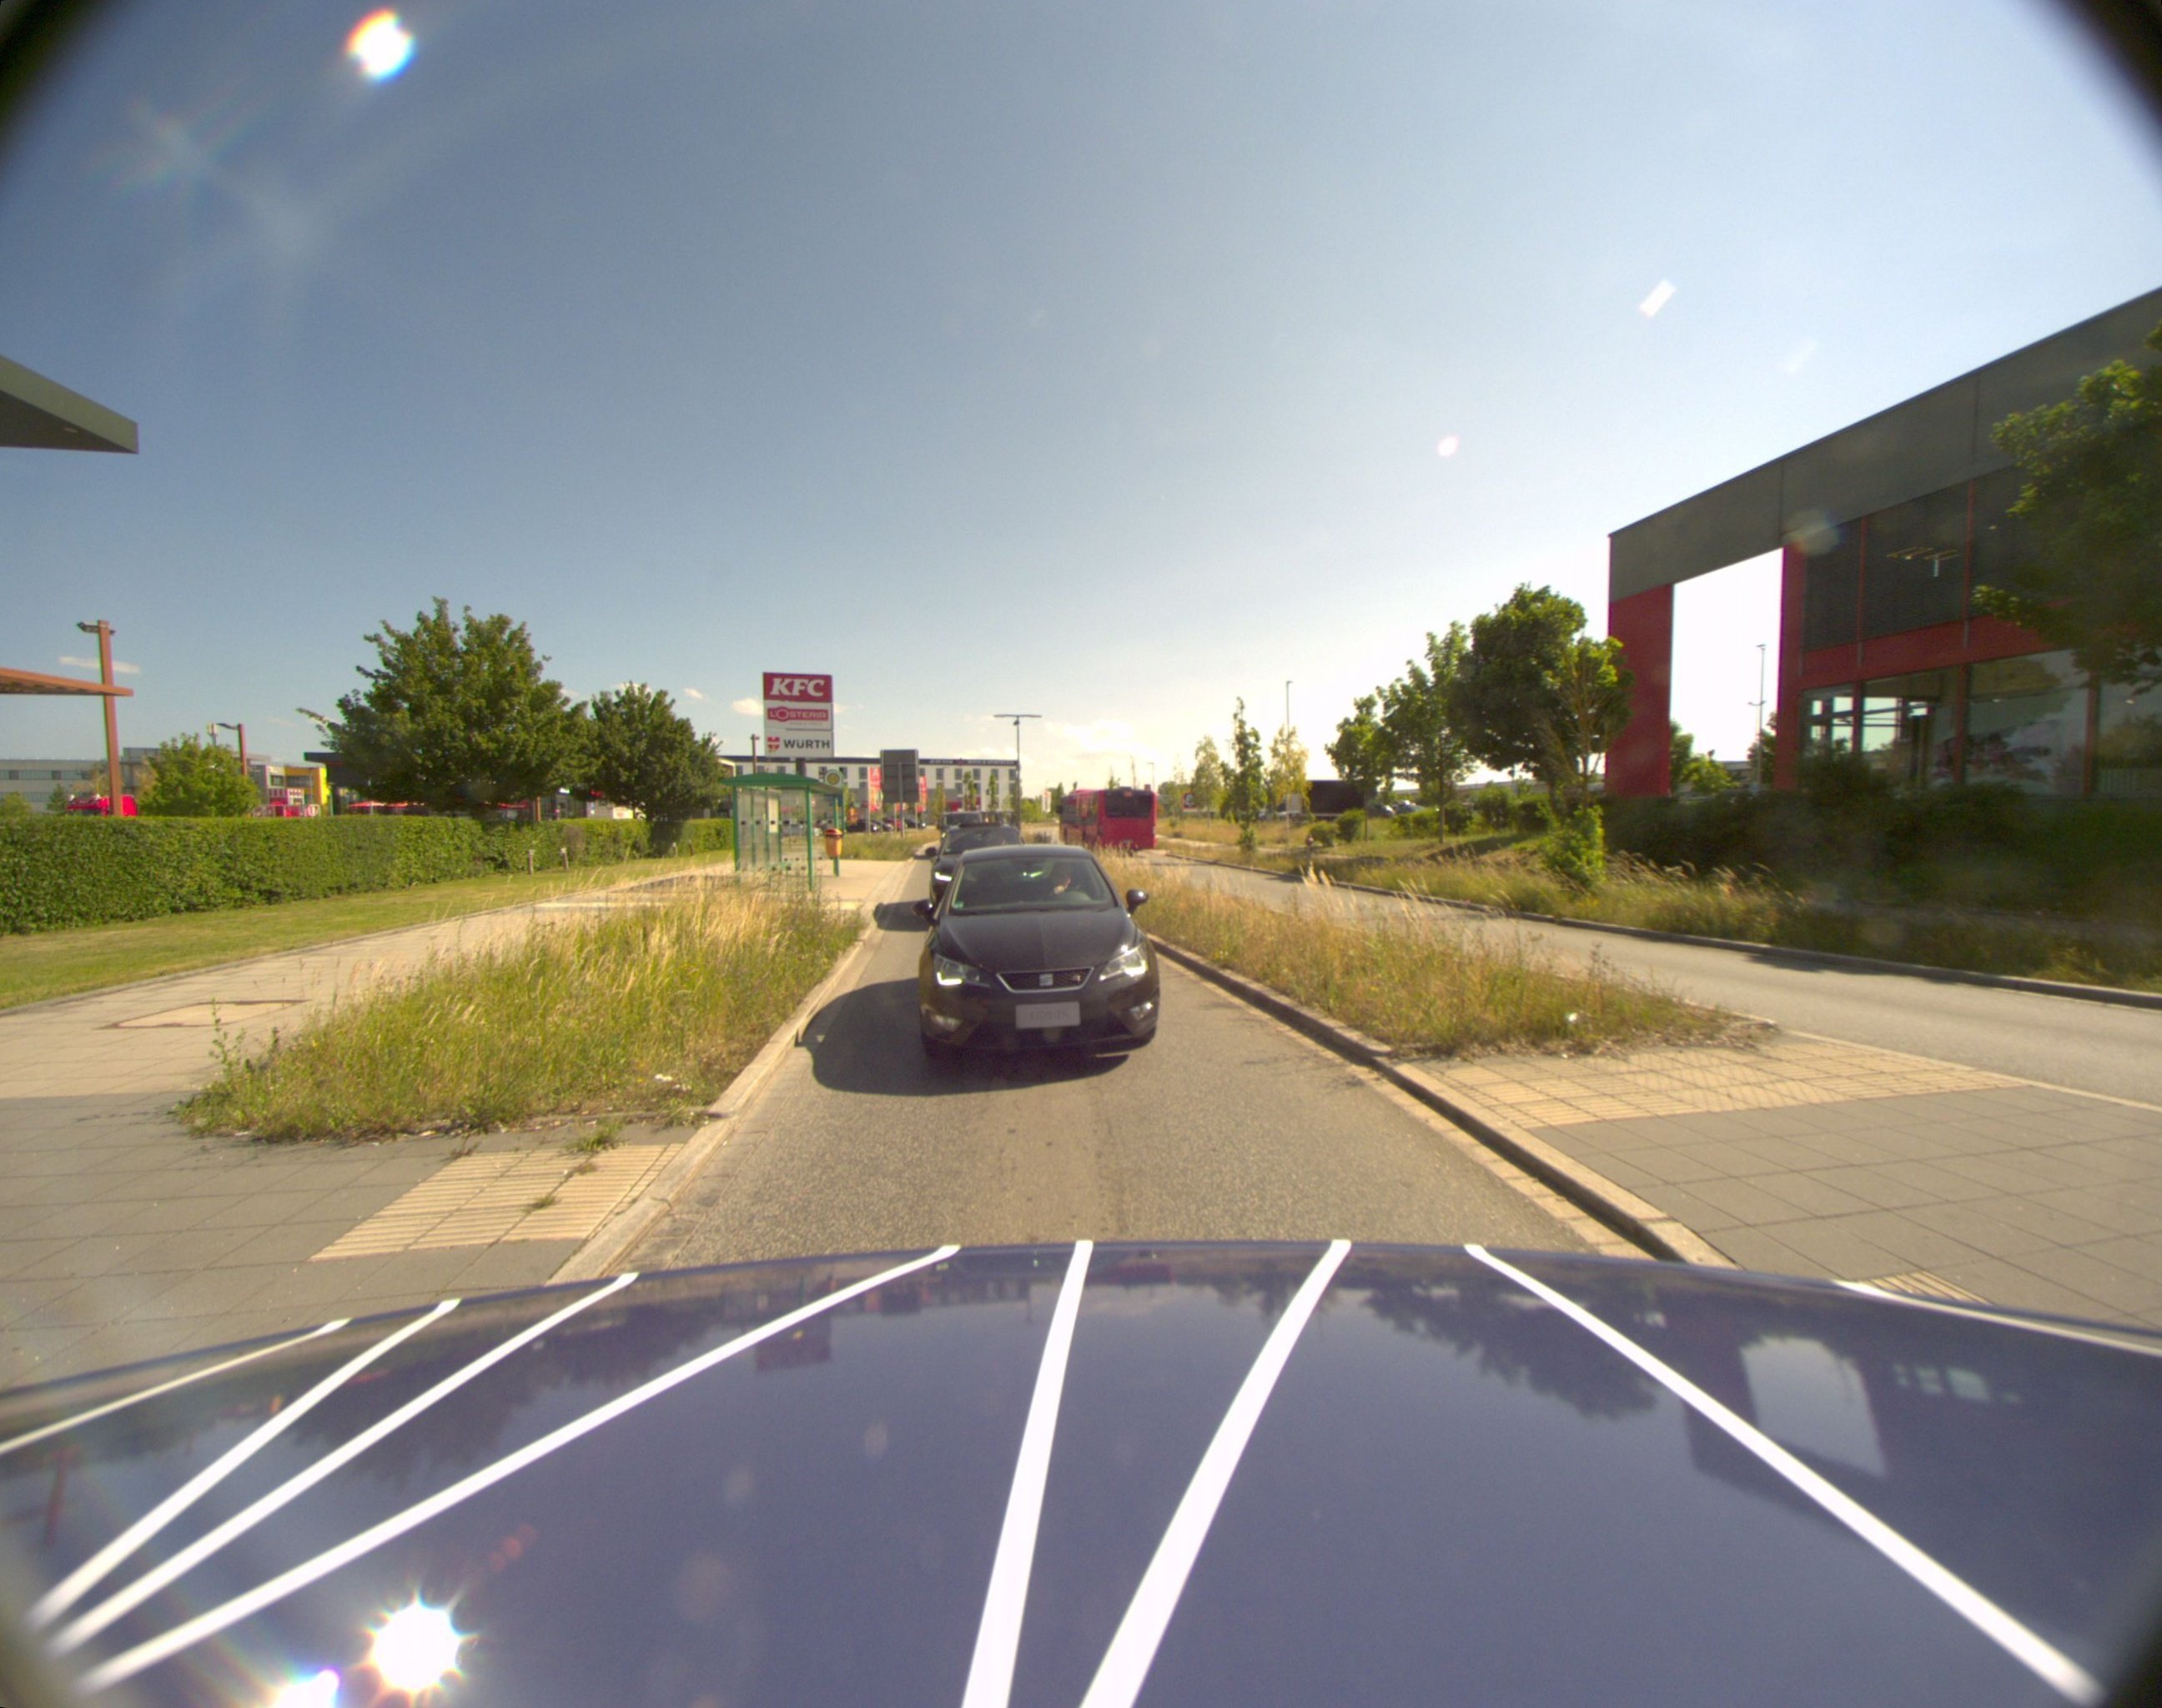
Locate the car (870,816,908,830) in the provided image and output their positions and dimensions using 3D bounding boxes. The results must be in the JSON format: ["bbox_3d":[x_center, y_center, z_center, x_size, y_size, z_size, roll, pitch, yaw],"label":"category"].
[{"bbox_3d":[-24.006,-3.891,95.027,4.181,1.752,1.824,0,3,8],"label":"car"}]

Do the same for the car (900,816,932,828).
[{"bbox_3d":[-22.072,-4.255,101.546,3.821,1.611,1.756,0,3,4],"label":"car"}]

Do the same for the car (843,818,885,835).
[{"bbox_3d":[-24.759,-3.181,86.804,4.181,1.847,1.803,0,3,8],"label":"car"}]

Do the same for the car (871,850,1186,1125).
[{"bbox_3d":[-0.504,0.777,6.524,1.863,1.460,3.996,-1,2,-6],"label":"car"}]

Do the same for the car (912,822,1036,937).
[{"bbox_3d":[-1.944,0.325,14.088,1.863,1.679,3.995,-4,3,-7],"label":"car"}]

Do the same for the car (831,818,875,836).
[{"bbox_3d":[-25.274,-3.003,84.428,4.182,2.003,1.933,0,3,4],"label":"car"}]

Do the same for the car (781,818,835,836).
[{"bbox_3d":[-26.068,-2.588,72.774,4.441,1.644,1.932,-1,3,-3],"label":"car"}]

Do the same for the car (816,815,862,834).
[{"bbox_3d":[-25.614,-3.145,80.577,4.182,2.003,1.933,0,3,4],"label":"car"}]

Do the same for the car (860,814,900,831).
[{"bbox_3d":[-24.248,-3.800,91.872,4.183,2.003,1.933,0,3,3],"label":"car"}]

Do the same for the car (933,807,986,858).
[{"bbox_3d":[-5.428,-1.024,34.406,2.080,2.038,4.677,-4,3,-7],"label":"car"}]

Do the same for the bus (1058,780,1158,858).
[{"bbox_3d":[0.960,-1.699,37.679,2.618,3.224,11.865,-1,2,-9],"label":"bus"}]
